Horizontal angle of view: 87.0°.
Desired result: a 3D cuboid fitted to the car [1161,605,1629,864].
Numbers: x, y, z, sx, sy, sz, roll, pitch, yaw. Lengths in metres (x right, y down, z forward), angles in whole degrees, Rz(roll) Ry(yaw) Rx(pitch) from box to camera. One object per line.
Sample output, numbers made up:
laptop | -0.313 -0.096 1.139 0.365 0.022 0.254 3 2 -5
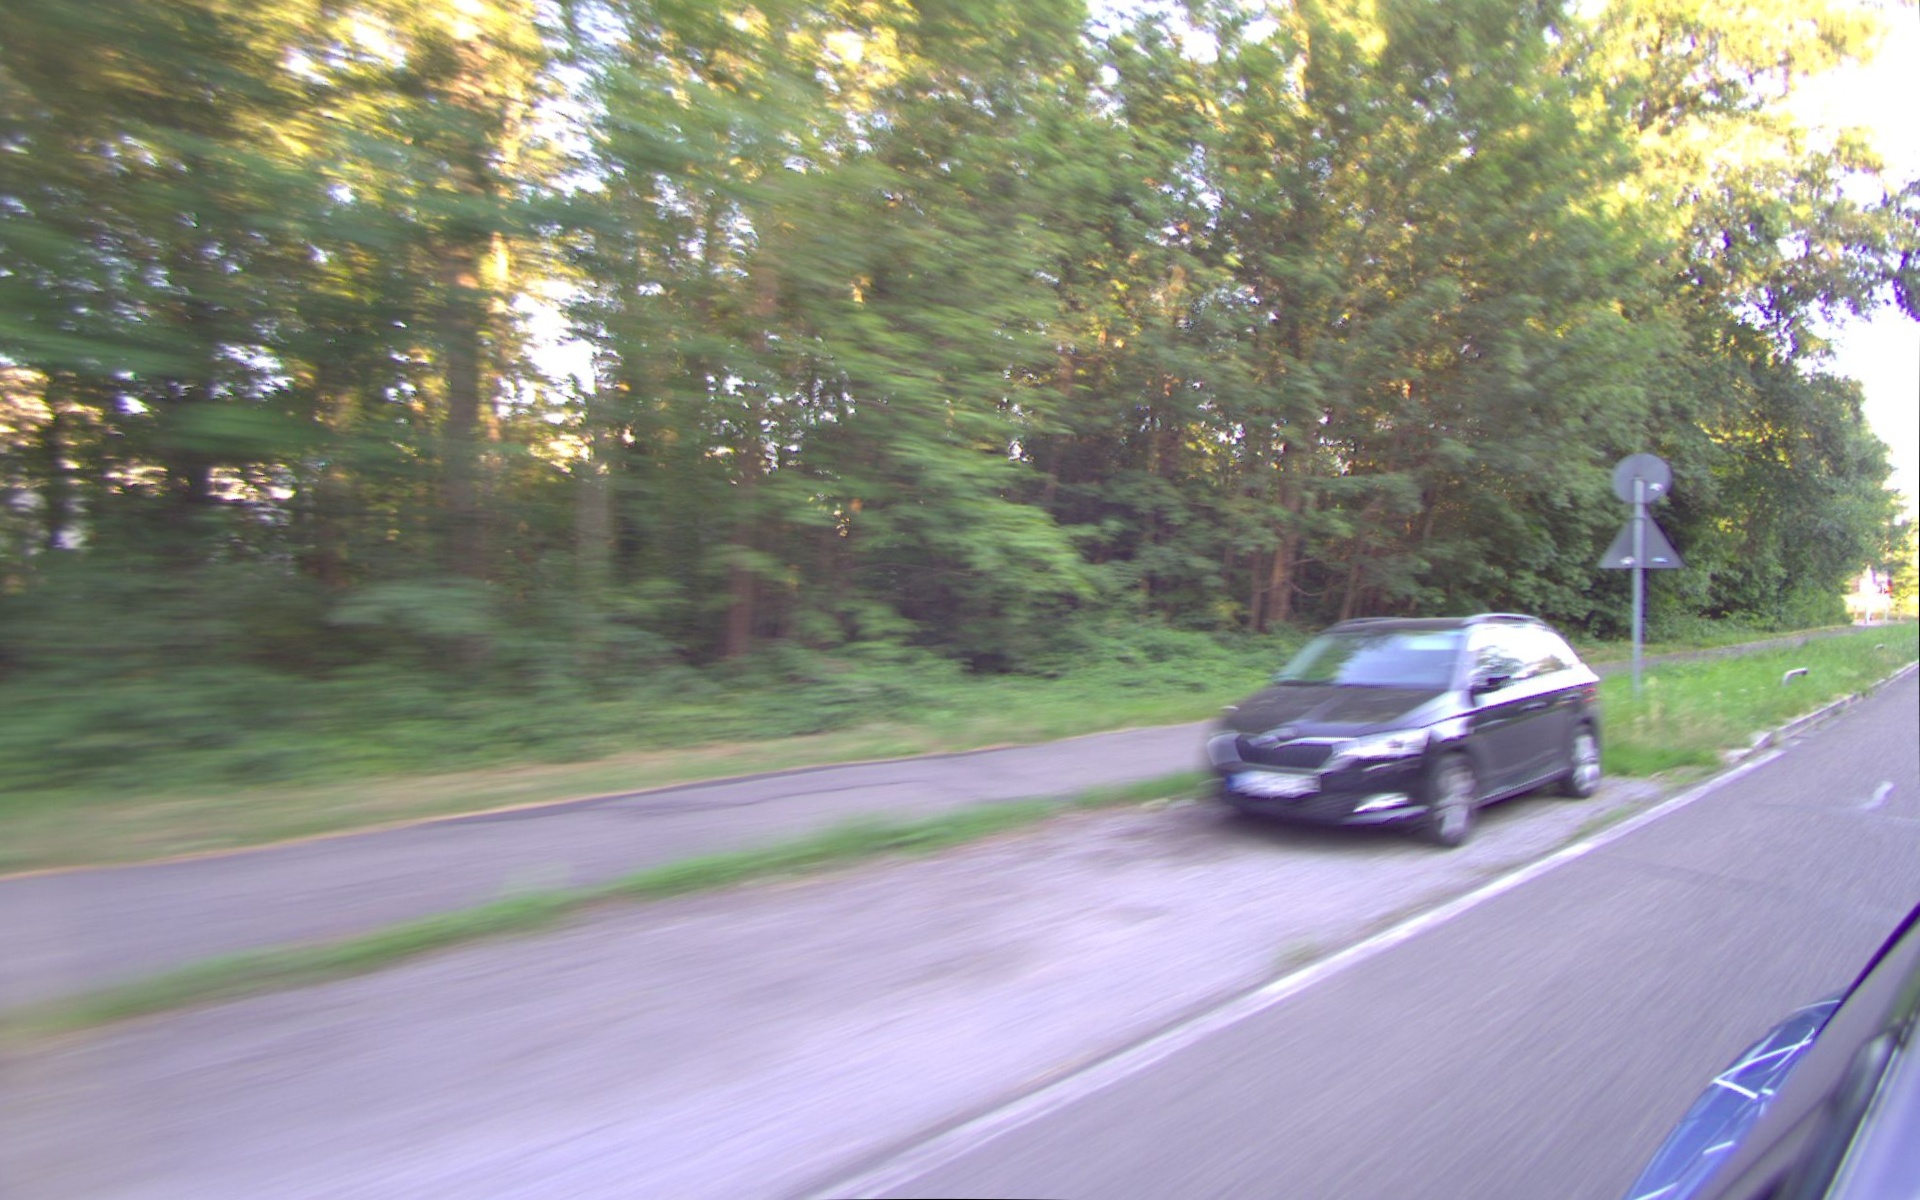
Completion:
car | 3.408 0.789 7.614 3.873 1.423 1.666 0 -2 -40
